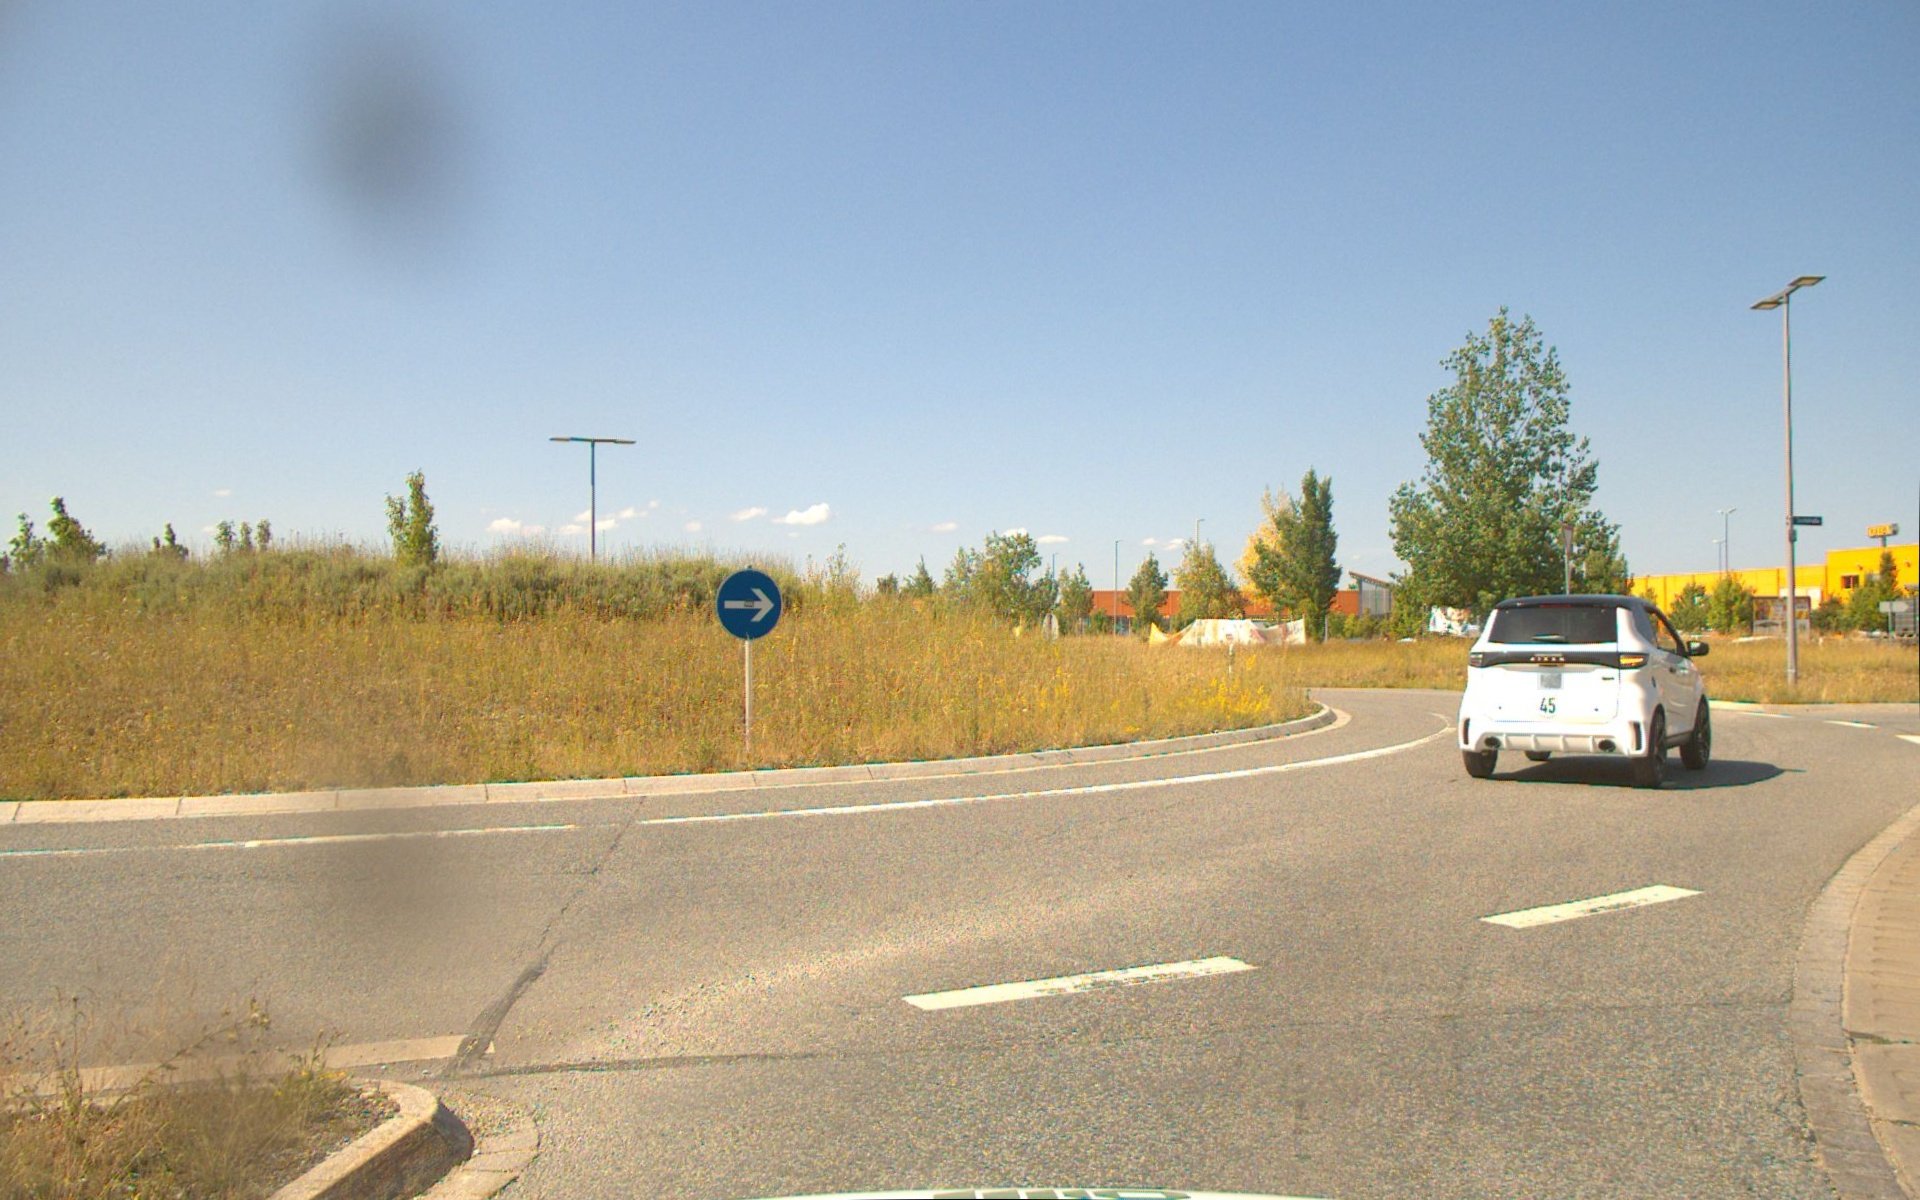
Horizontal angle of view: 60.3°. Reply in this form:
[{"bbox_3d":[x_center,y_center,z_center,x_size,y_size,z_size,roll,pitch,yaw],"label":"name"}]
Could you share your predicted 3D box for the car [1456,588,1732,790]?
[{"bbox_3d":[5.466,0.646,14.049,1.483,1.465,3.340,1,1,34],"label":"car"}]
